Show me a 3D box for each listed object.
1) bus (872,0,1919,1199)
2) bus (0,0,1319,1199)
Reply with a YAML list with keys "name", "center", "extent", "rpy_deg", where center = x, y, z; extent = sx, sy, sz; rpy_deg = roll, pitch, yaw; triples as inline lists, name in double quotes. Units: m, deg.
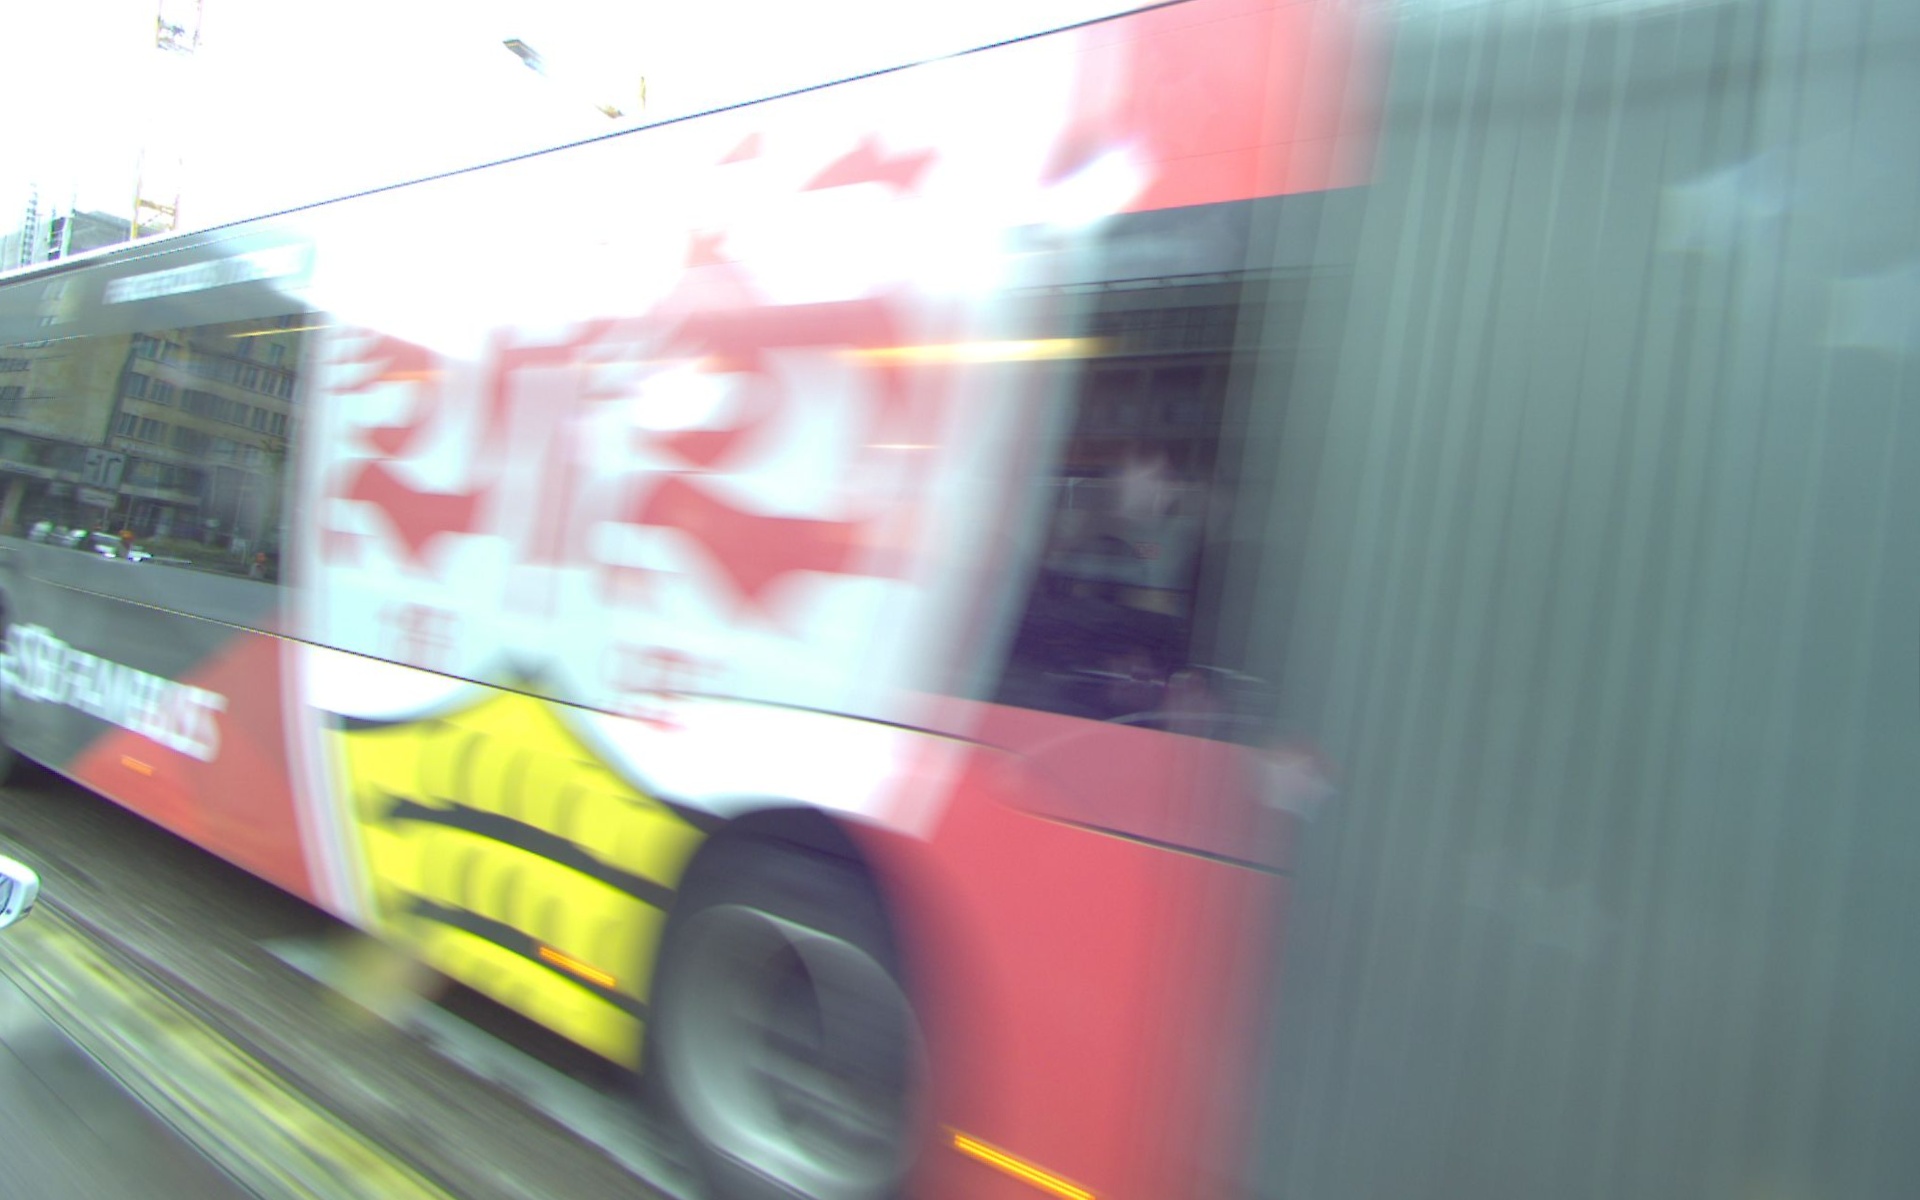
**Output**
- name: "bus"
  center: [4.425, 0.637, 0.766]
  extent: [8.931, 3.103, 2.761]
  rpy_deg: [6, -2, 32]
- name: "bus"
  center: [-3.061, -0.181, 5.525]
  extent: [8.845, 3.101, 2.761]
  rpy_deg: [6, -2, 32]
